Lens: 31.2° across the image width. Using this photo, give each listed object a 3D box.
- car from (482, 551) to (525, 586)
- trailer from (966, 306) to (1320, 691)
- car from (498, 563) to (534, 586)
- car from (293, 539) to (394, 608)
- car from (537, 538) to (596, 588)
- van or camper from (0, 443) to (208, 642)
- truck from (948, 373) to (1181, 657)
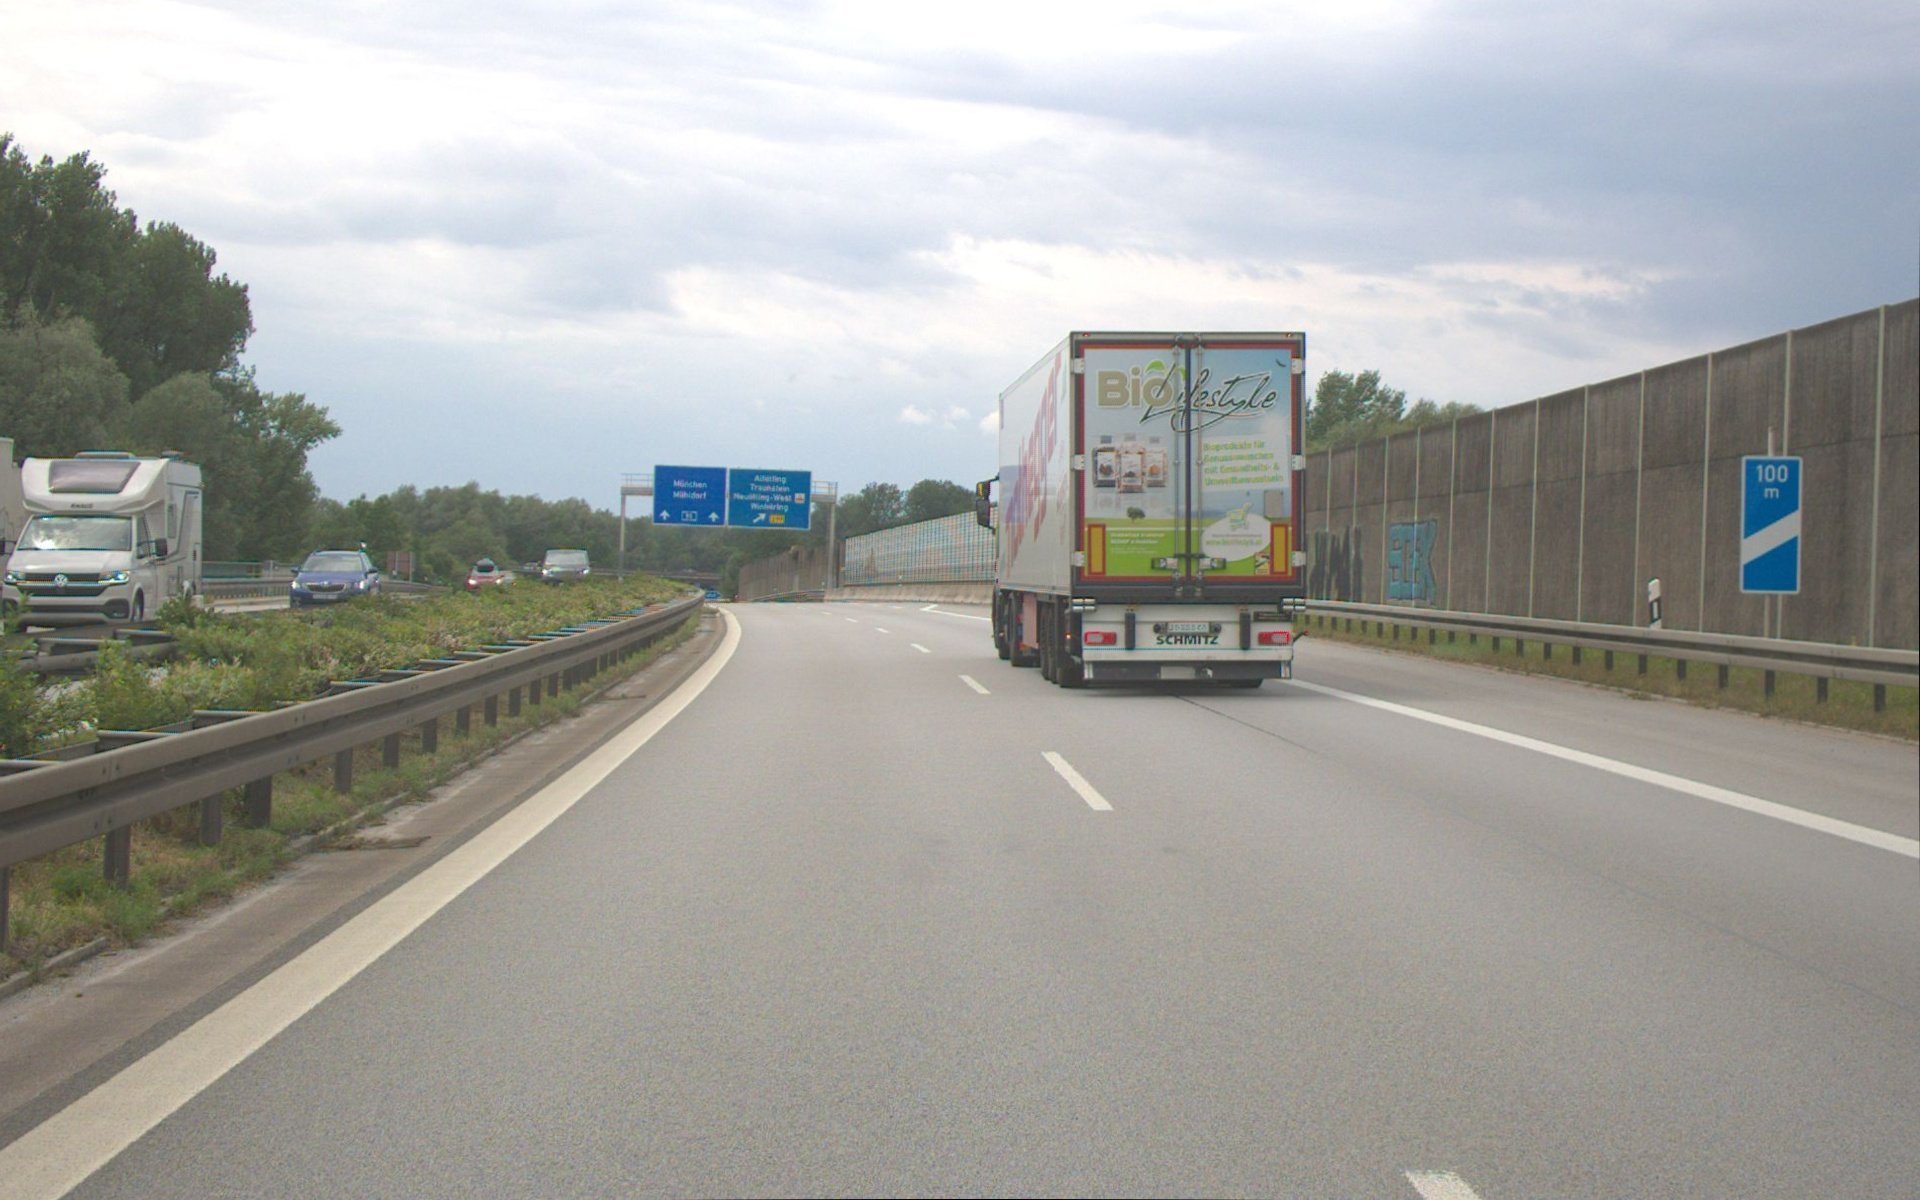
[{"bbox_3d":[-23.477,-1.618,176.954,1.969,1.755,4.945,1,1,-5],"label":"car"},{"bbox_3d":[2.000,-1.171,44.345,2.792,4.160,14.105,0,1,-4],"label":"trailer"},{"bbox_3d":[-26.917,-1.556,208.467,1.969,1.399,4.710,0,1,-5],"label":"car"},{"bbox_3d":[-14.294,-0.626,79.911,1.811,1.541,4.517,0,1,-4],"label":"car"},{"bbox_3d":[-15.145,-1.424,132.473,1.993,1.879,4.556,0,1,-4],"label":"car"},{"bbox_3d":[-12.755,-0.849,51.039,2.254,2.769,5.756,1,1,-4],"label":"van or camper"},{"bbox_3d":[1.453,-1.207,50.821,2.755,3.946,5.678,0,1,-5],"label":"truck"}]
